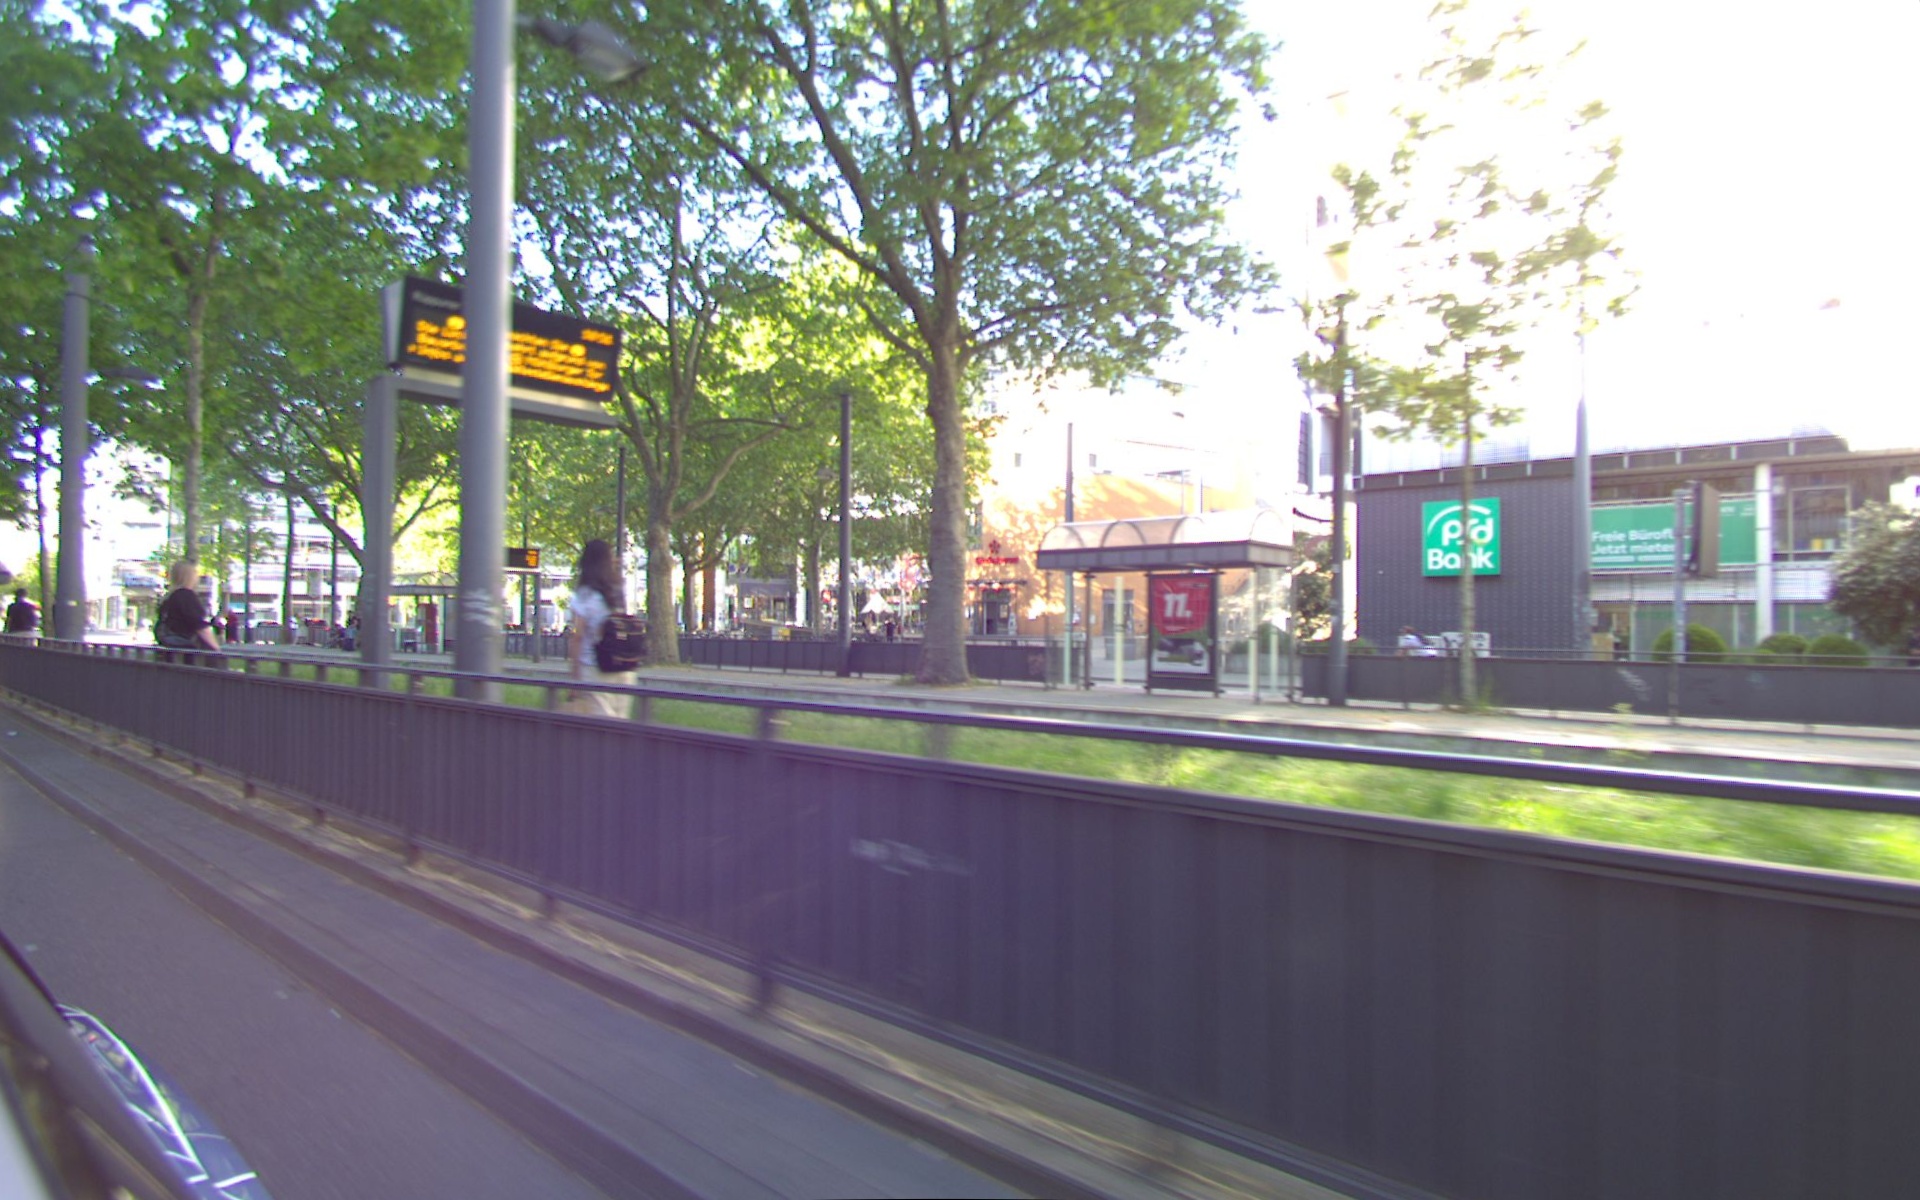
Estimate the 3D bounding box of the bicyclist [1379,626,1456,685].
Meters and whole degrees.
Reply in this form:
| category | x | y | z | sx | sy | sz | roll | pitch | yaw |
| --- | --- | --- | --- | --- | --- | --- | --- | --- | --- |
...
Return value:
| category | x | y | z | sx | sy | sz | roll | pitch | yaw |
| --- | --- | --- | --- | --- | --- | --- | --- | --- | --- |
| bicyclist | 10.287 | 1.220 | 22.775 | 1.372 | 1.259 | 0.994 | -2 | -1 | 38 |

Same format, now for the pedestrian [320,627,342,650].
| category | x | y | z | sx | sy | sz | roll | pitch | yaw |
| --- | --- | --- | --- | --- | --- | --- | --- | --- | --- |
| pedestrian | -28.235 | 1.727 | 45.449 | 0.713 | 1.048 | 0.699 | 1 | -2 | -42 |

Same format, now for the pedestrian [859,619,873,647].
| category | x | y | z | sx | sy | sz | roll | pitch | yaw |
| --- | --- | --- | --- | --- | --- | --- | --- | --- | --- |
| pedestrian | -5.618 | 1.967 | 60.516 | 0.597 | 1.616 | 0.572 | -1 | -2 | 39 |

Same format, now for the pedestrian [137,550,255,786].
| category | x | y | z | sx | sy | sz | roll | pitch | yaw |
| --- | --- | --- | --- | --- | --- | --- | --- | --- | --- |
| pedestrian | -6.497 | 0.559 | 8.610 | 0.661 | 1.901 | 0.639 | -1 | -2 | 40 |

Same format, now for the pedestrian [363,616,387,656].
| category | x | y | z | sx | sy | sz | roll | pitch | yaw |
| --- | --- | --- | --- | --- | --- | --- | --- | --- | --- |
| pedestrian | -22.122 | 1.364 | 38.277 | 0.605 | 1.497 | 0.566 | -1 | -2 | 29 |

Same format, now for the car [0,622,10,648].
| category | x | y | z | sx | sy | sz | roll | pitch | yaw |
| --- | --- | --- | --- | --- | --- | --- | --- | --- | --- |
| car | -54.115 | 1.927 | 56.030 | 3.340 | 1.466 | 1.847 | -1 | -2 | 41 |

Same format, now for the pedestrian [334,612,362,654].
| category | x | y | z | sx | sy | sz | roll | pitch | yaw |
| --- | --- | --- | --- | --- | --- | --- | --- | --- | --- |
| pedestrian | -24.352 | 1.320 | 40.274 | 0.666 | 1.654 | 0.662 | 0 | -1 | 29 |

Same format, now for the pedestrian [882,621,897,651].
| category | x | y | z | sx | sy | sz | roll | pitch | yaw |
| --- | --- | --- | --- | --- | --- | --- | --- | --- | --- |
| pedestrian | -3.832 | 1.949 | 54.898 | 0.571 | 1.616 | 0.580 | 1 | -2 | -45 |

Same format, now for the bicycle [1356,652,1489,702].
| category | x | y | z | sx | sy | sz | roll | pitch | yaw |
| --- | --- | --- | --- | --- | --- | --- | --- | --- | --- |
| bicycle | 10.345 | 1.709 | 22.714 | 2.582 | 1.004 | 0.793 | -2 | -1 | 38 |

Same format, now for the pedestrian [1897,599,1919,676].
| category | x | y | z | sx | sy | sz | roll | pitch | yaw |
| --- | --- | --- | --- | --- | --- | --- | --- | --- | --- |
| pedestrian | 20.329 | 0.787 | 21.326 | 0.767 | 1.604 | 0.896 | -1 | -2 | 39 |

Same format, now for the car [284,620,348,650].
| category | x | y | z | sx | sy | sz | roll | pitch | yaw |
| --- | --- | --- | --- | --- | --- | --- | --- | --- | --- |
| car | -36.228 | 1.971 | 56.908 | 3.999 | 1.652 | 1.972 | -1 | -3 | 42 |

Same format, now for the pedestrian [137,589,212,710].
| category | x | y | z | sx | sy | sz | roll | pitch | yaw |
| --- | --- | --- | --- | --- | --- | --- | --- | --- | --- |
| pedestrian | -11.511 | 0.707 | 14.833 | 0.862 | 1.715 | 0.721 | -1 | -2 | 42 |

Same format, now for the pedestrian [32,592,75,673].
| category | x | y | z | sx | sy | sz | roll | pitch | yaw |
| --- | --- | --- | --- | --- | --- | --- | --- | --- | --- |
| pedestrian | -21.146 | 0.756 | 23.612 | 0.637 | 1.853 | 0.640 | -1 | -2 | 40 |

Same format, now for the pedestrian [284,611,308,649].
| category | x | y | z | sx | sy | sz | roll | pitch | yaw |
| --- | --- | --- | --- | --- | --- | --- | --- | --- | --- |
| pedestrian | -31.055 | 1.383 | 47.334 | 0.635 | 1.753 | 0.690 | -1 | -2 | 32 |

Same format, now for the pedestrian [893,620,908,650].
| category | x | y | z | sx | sy | sz | roll | pitch | yaw |
| --- | --- | --- | --- | --- | --- | --- | --- | --- | --- |
| pedestrian | -3.280 | 1.925 | 55.357 | 0.571 | 1.616 | 0.598 | 1 | -2 | -45 |

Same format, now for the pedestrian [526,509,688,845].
| category | x | y | z | sx | sy | sz | roll | pitch | yaw |
| --- | --- | --- | --- | --- | --- | --- | --- | --- | --- |
| pedestrian | -2.156 | 0.439 | 6.176 | 0.753 | 1.886 | 0.638 | -1 | -2 | 41 |

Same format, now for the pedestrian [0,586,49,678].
| category | x | y | z | sx | sy | sz | roll | pitch | yaw |
| --- | --- | --- | --- | --- | --- | --- | --- | --- | --- |
| pedestrian | -19.030 | 0.647 | 20.451 | 0.824 | 1.816 | 0.700 | -1 | -2 | 33 |

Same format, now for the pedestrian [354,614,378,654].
| category | x | y | z | sx | sy | sz | roll | pitch | yaw |
| --- | --- | --- | --- | --- | --- | --- | --- | --- | --- |
| pedestrian | -22.644 | 1.305 | 38.573 | 0.549 | 1.509 | 0.549 | -1 | -2 | 29 |

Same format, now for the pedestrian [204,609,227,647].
| category | x | y | z | sx | sy | sz | roll | pitch | yaw |
| --- | --- | --- | --- | --- | --- | --- | --- | --- | --- |
| pedestrian | -35.117 | 1.326 | 47.766 | 0.674 | 1.767 | 0.649 | -1 | -2 | 32 |

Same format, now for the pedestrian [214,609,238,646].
| category | x | y | z | sx | sy | sz | roll | pitch | yaw |
| --- | --- | --- | --- | --- | --- | --- | --- | --- | --- |
| pedestrian | -34.452 | 1.283 | 47.516 | 0.697 | 1.709 | 0.678 | -1 | -2 | 32 |
